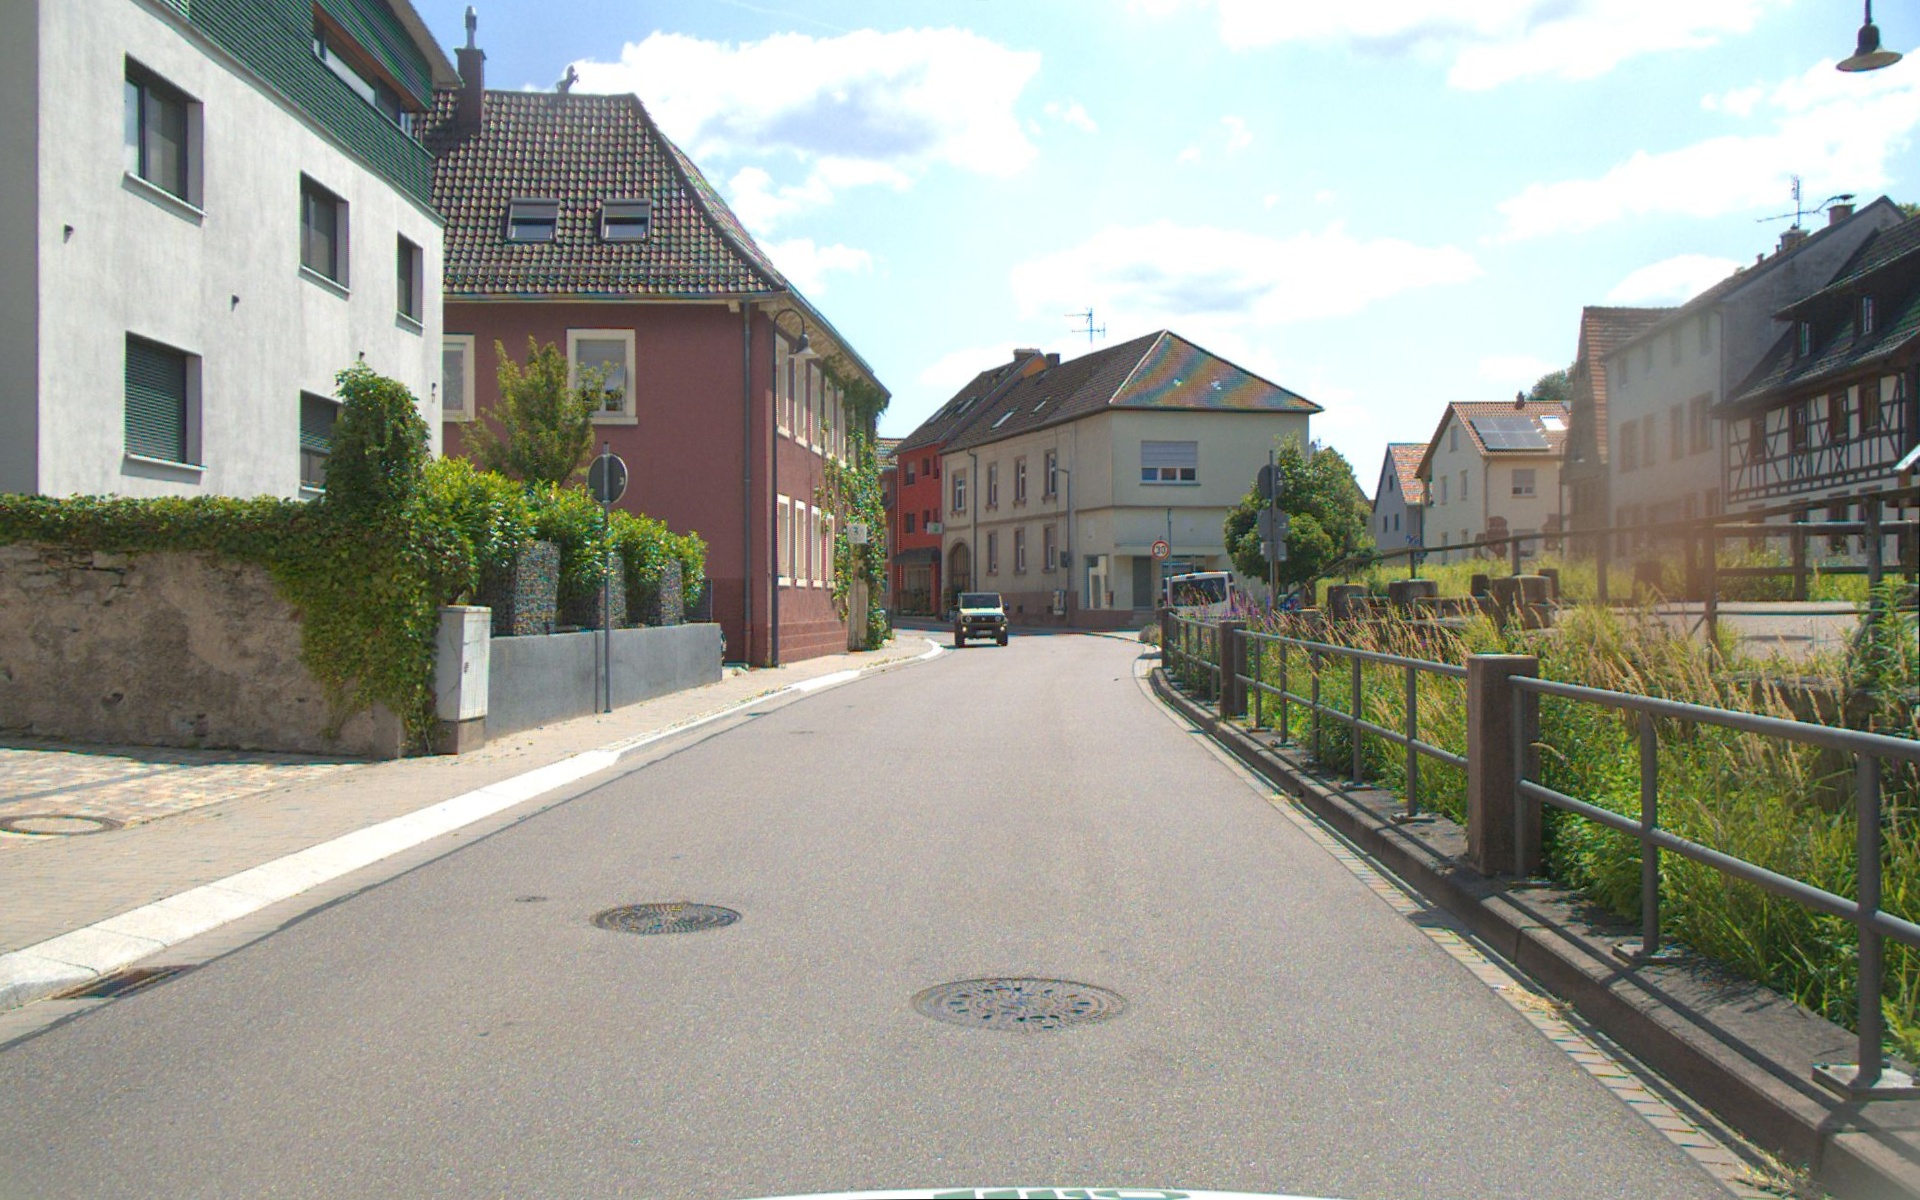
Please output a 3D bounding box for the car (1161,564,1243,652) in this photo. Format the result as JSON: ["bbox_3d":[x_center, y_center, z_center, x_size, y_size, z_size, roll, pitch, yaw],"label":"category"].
[{"bbox_3d":[5.977,0.181,41.048,1.857,2.015,3.116,-2,0,7],"label":"car"}]

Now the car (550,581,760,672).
[{"bbox_3d":[-5.692,0.482,31.118,3.490,1.430,1.653,4,0,4],"label":"car"}]

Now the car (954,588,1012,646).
[{"bbox_3d":[0.774,0.535,53.362,1.587,1.749,3.475,-2,0,5],"label":"car"}]
